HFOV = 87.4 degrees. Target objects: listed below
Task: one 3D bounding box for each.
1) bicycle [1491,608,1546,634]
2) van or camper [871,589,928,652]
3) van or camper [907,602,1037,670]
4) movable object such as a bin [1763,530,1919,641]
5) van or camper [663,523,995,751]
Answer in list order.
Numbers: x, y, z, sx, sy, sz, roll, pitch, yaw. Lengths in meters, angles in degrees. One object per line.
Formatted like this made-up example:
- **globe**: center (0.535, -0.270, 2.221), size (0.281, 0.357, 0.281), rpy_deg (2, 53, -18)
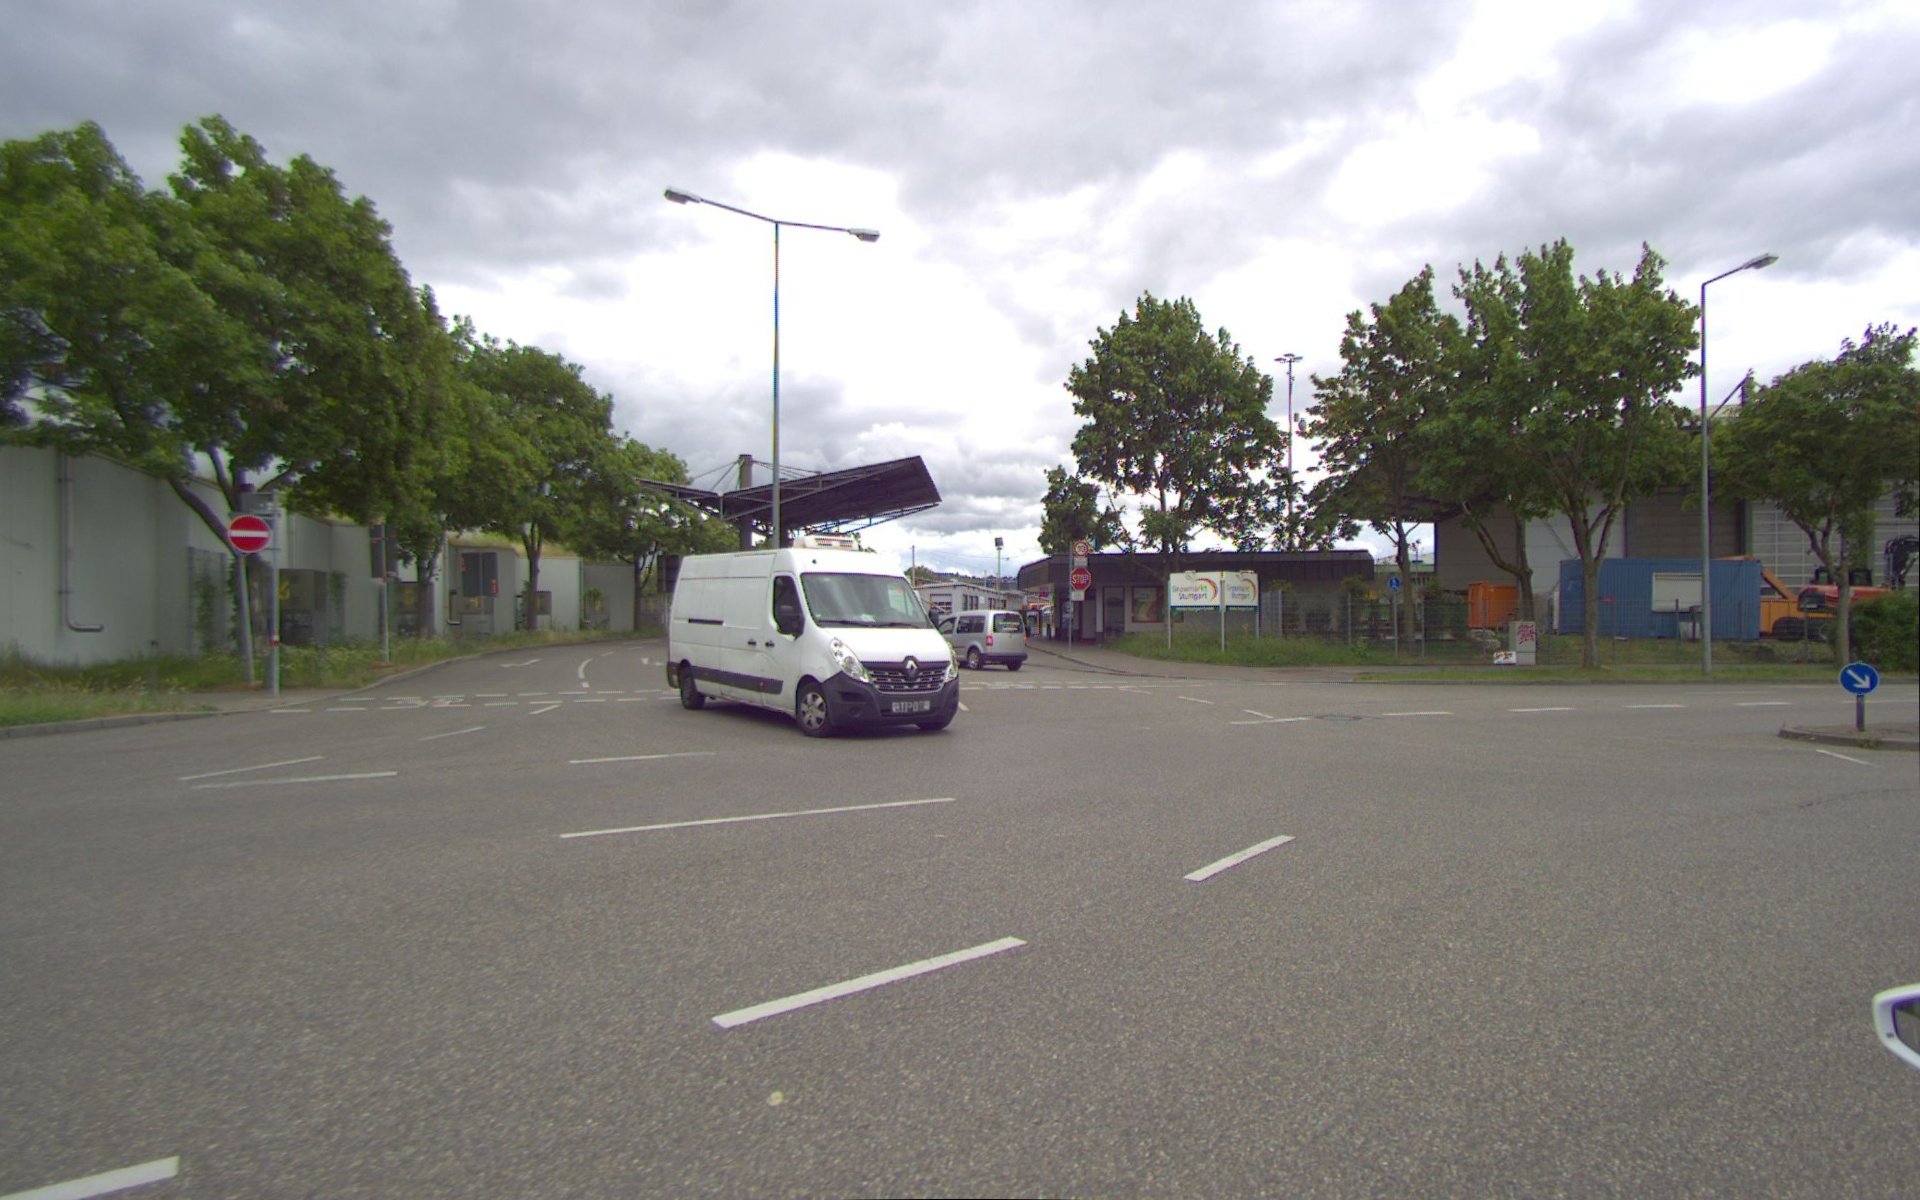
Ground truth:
- **bicycle**: center (21.393, 0.813, 38.514), size (1.725, 0.987, 0.663), rpy_deg (0, -1, 5)
- **van or camper**: center (-2.717, 0.818, 44.280), size (2.287, 2.591, 6.572), rpy_deg (0, 0, -4)
- **van or camper**: center (0.318, 1.125, 32.168), size (1.941, 1.989, 4.230), rpy_deg (3, -2, -37)
- **movable object such as a bin**: center (35.474, -0.502, 38.848), size (6.420, 4.145, 2.735), rpy_deg (0, -1, 5)
- **van or camper**: center (-2.201, 0.415, 14.595), size (2.250, 2.591, 6.047), rpy_deg (0, 0, -35)
